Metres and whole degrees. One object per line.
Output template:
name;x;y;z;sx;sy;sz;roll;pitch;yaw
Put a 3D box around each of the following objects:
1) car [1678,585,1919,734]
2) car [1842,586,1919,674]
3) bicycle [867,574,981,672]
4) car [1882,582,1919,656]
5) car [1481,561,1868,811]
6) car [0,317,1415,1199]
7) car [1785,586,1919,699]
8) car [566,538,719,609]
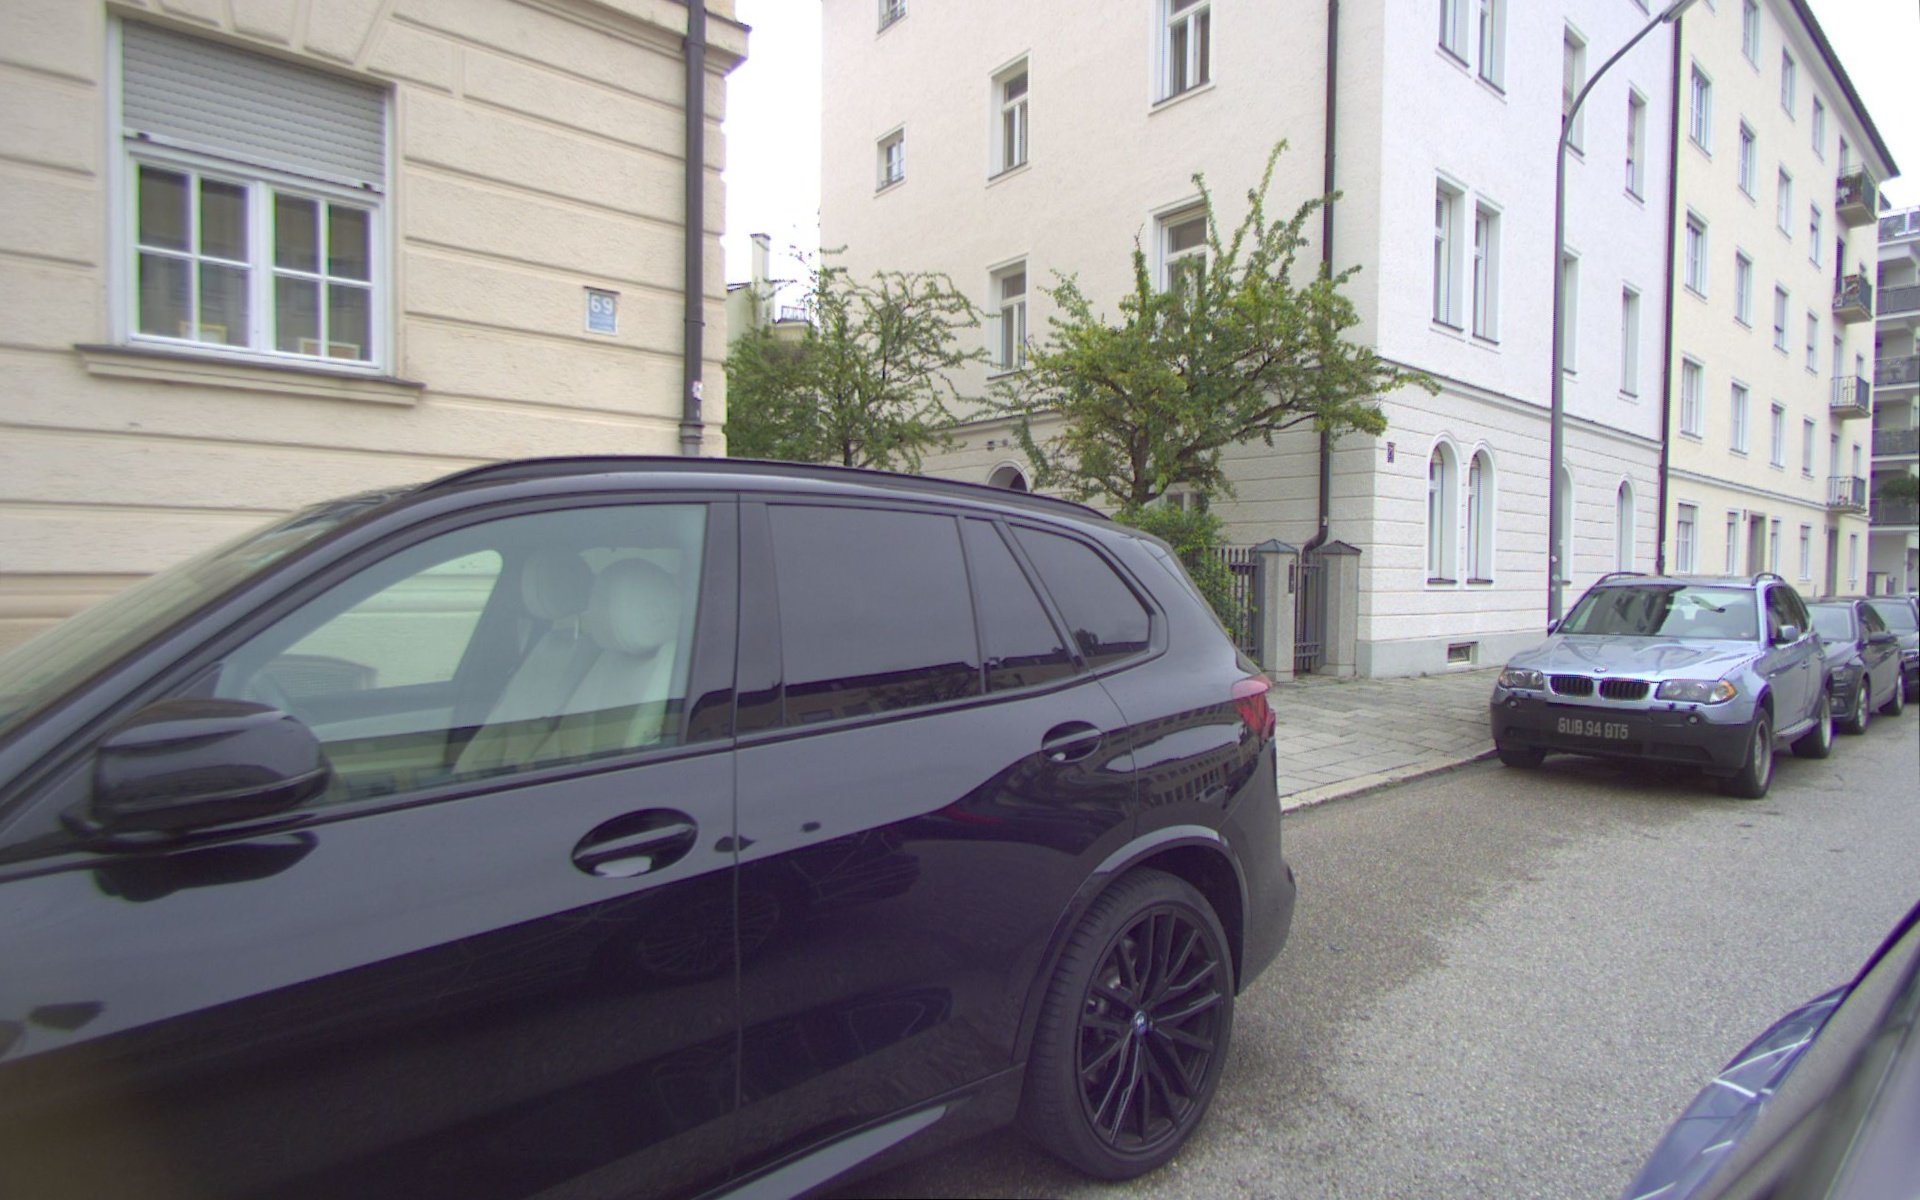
car;10.201;0.570;12.136;4.016;1.445;1.682;-1;2;-41
car;17.579;0.485;18.510;4.095;1.445;1.682;-1;2;-42
bicycle;-0.505;0.256;13.175;0.570;1.107;1.880;-1;4;-33
car;21.553;0.382;22.096;4.095;1.500;1.682;-1;2;-42
car;6.347;0.511;8.785;4.379;1.654;1.726;-1;2;-41
car;-0.946;0.531;2.476;4.779;1.738;1.873;-1;1;-40
car;13.925;0.536;15.227;4.316;1.445;1.682;-1;2;-42
car;-7.538;-0.682;24.470;1.755;1.533;4.230;2;3;11
